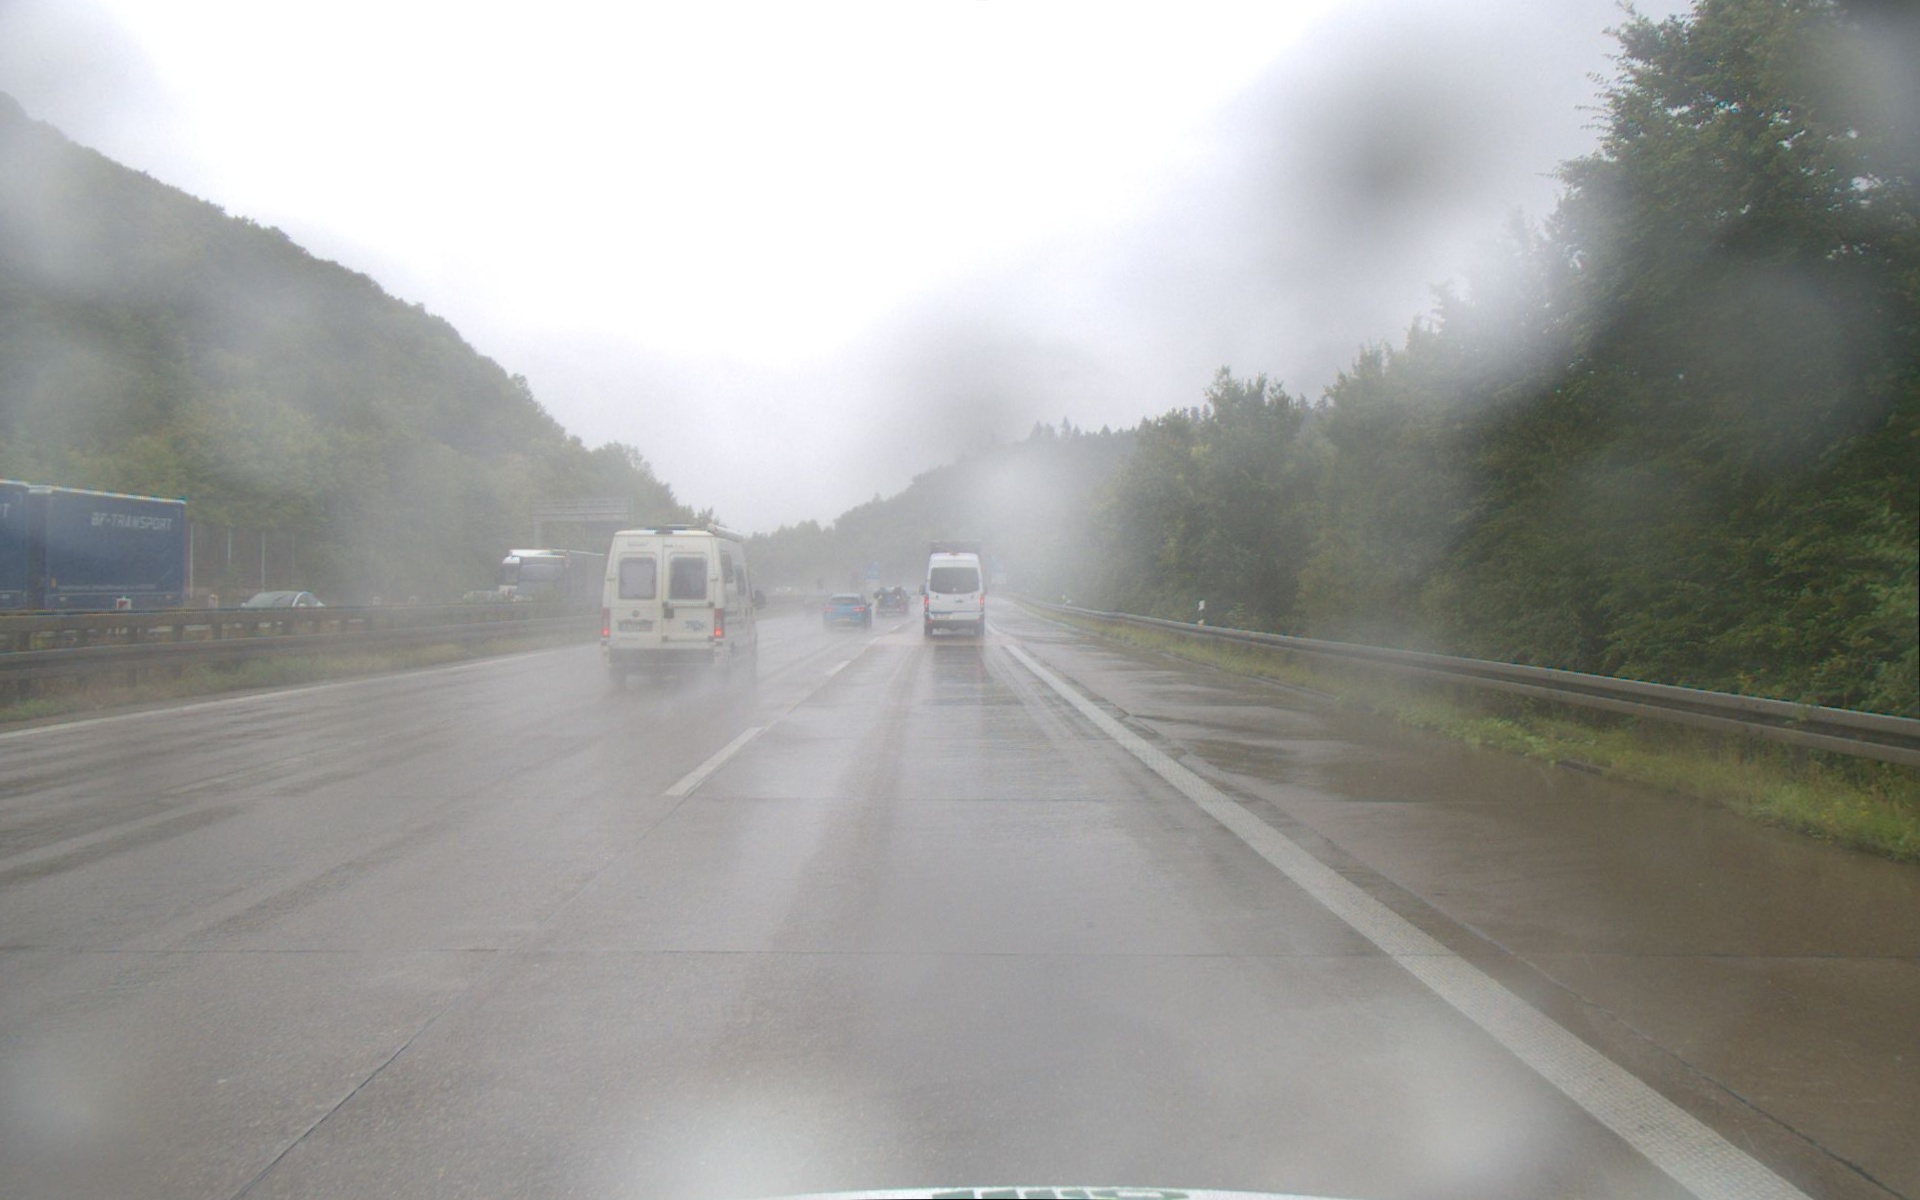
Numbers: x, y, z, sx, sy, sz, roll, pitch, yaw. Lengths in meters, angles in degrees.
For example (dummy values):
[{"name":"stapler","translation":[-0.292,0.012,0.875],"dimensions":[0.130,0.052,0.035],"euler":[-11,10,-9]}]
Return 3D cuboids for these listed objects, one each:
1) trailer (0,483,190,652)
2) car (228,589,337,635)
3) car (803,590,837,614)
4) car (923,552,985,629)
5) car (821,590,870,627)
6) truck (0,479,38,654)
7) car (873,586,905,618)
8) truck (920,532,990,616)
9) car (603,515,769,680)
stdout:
[{"name":"trailer","translation":[-24.723,-0.860,45.851],"dimensions":[2.790,4.227,8.523],"euler":[1,0,-1]},{"name":"car","translation":[-21.569,0.362,52.818],"dimensions":[1.717,1.362,4.424],"euler":[1,0,-1]},{"name":"car","translation":[-8.168,0.105,96.603],"dimensions":[1.819,1.362,4.348],"euler":[1,0,-3]},{"name":"car","translation":[-0.242,-0.324,54.480],"dimensions":[1.861,2.374,5.249],"euler":[1,0,-2]},{"name":"car","translation":[-4.450,0.317,64.783],"dimensions":[1.819,1.362,4.348],"euler":[1,0,-4]},{"name":"truck","translation":[-24.529,-0.824,36.468],"dimensions":[2.790,4.227,10.176],"euler":[1,0,-1]},{"name":"car","translation":[-4.309,0.106,101.344],"dimensions":[1.831,1.841,4.187],"euler":[1,0,-2]},{"name":"truck","translation":[-0.310,-1.446,85.237],"dimensions":[3.316,4.037,8.667],"euler":[1,2,-1]},{"name":"car","translation":[-4.515,-0.052,28.173],"dimensions":[1.957,2.474,5.789],"euler":[1,0,-2]}]
